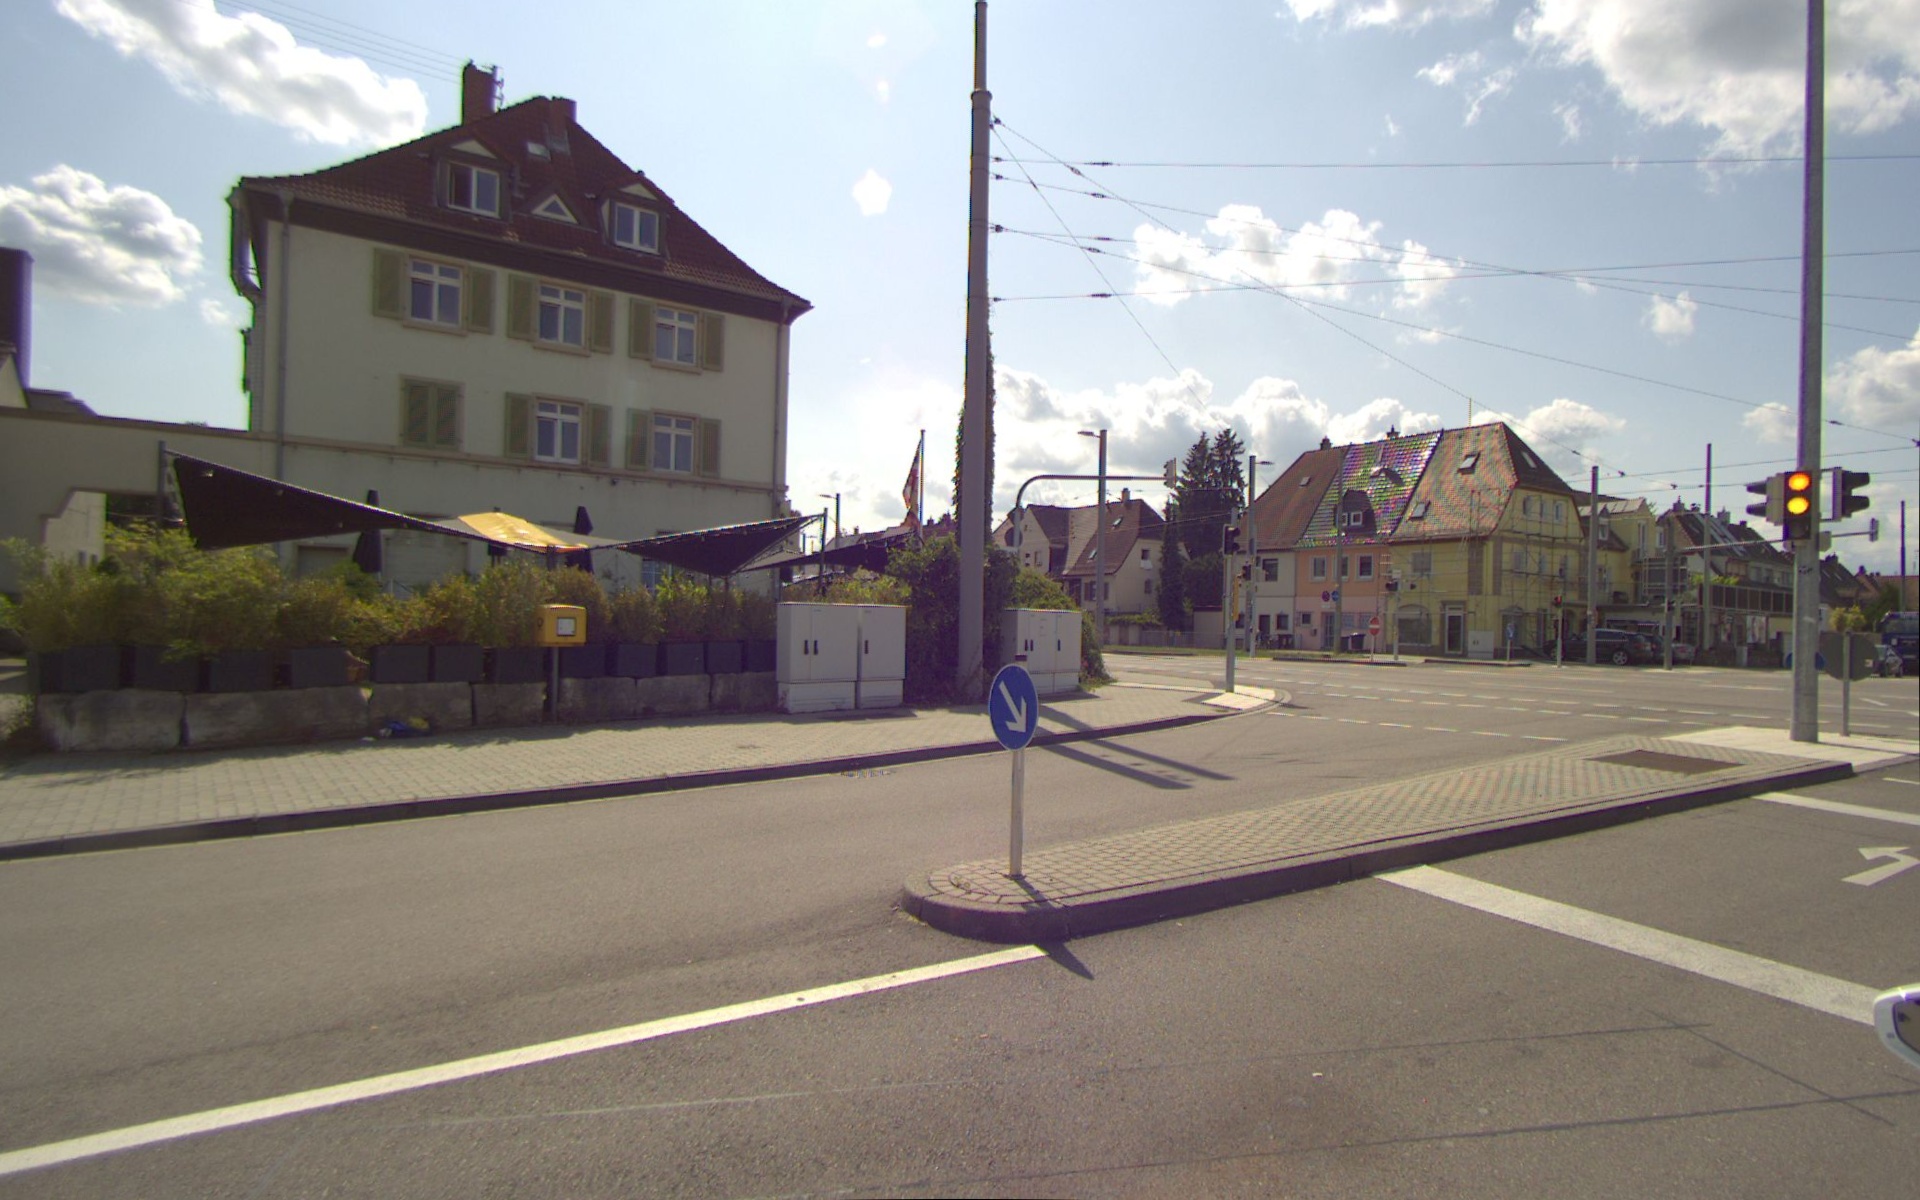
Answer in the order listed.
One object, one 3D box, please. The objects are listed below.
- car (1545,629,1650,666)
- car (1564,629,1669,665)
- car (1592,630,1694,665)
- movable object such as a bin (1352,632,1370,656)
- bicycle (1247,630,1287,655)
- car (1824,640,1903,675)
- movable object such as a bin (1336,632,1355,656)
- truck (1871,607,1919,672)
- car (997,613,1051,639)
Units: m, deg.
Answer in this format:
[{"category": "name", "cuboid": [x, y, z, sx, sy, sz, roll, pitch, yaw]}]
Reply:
[{"category": "car", "cuboid": [30.737, 2.248, 48.558, 1.168, 1.513, 4.103, 2, 0, -37]}, {"category": "car", "cuboid": [32.796, 2.315, 50.298, 1.493, 1.513, 4.103, 2, 0, -37]}, {"category": "car", "cuboid": [35.085, 2.428, 51.691, 1.422, 1.513, 4.103, 2, 0, -37]}, {"category": "movable object such as a bin", "cuboid": [22.017, 2.414, 55.153, 0.674, 1.277, 0.677, 2, 0, -33]}, {"category": "bicycle", "cuboid": [18.050, 2.496, 59.083, 2.428, 1.374, 0.770, 2, 0, -29]}, {"category": "car", "cuboid": [41.580, 2.633, 46.180, 4.291, 1.506, 1.816, 3, -2, -35]}, {"category": "movable object such as a bin", "cuboid": [20.891, 2.376, 54.466, 0.674, 1.277, 0.677, 2, 0, -33]}, {"category": "truck", "cuboid": [50.841, 2.143, 53.150, 7.516, 3.230, 2.747, 3, -2, -38]}, {"category": "car", "cuboid": [4.044, 1.646, 64.017, 1.569, 1.528, 3.517, 2, 0, -34]}]
